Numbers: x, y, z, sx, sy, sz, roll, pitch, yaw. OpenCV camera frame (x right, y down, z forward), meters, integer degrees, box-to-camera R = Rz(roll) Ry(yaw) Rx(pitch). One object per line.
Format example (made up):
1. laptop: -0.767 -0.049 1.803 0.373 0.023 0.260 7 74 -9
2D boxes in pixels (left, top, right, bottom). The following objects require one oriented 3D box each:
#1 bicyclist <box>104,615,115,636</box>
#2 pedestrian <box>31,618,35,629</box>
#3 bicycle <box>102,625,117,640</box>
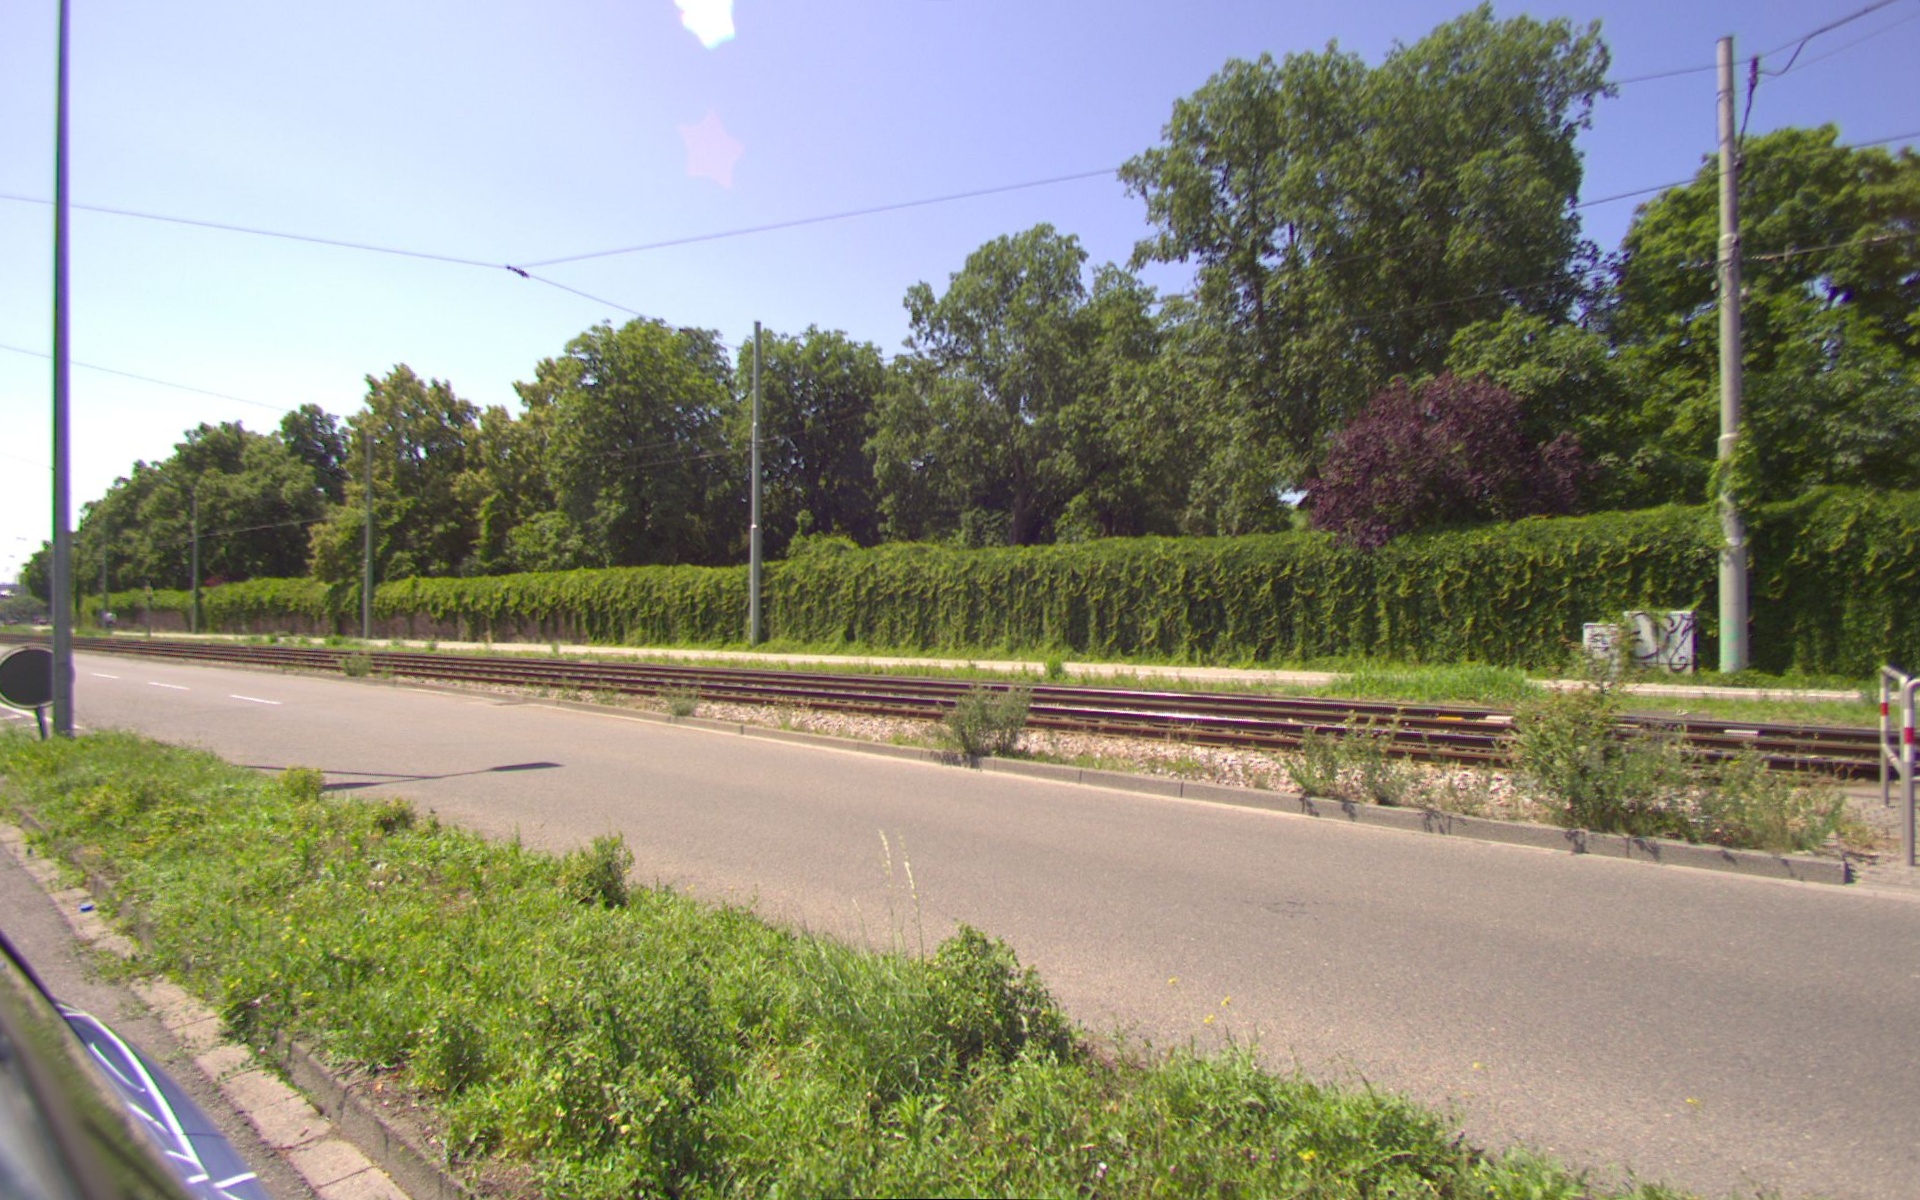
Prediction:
1. bicyclist: -65.603 1.962 78.071 0.768 1.624 0.477 -1 1 40
2. pedestrian: -149.808 3.799 163.473 0.302 1.677 0.447 -2 -1 40
3. bicycle: -65.700 2.493 78.173 1.977 1.063 0.610 -1 1 41
